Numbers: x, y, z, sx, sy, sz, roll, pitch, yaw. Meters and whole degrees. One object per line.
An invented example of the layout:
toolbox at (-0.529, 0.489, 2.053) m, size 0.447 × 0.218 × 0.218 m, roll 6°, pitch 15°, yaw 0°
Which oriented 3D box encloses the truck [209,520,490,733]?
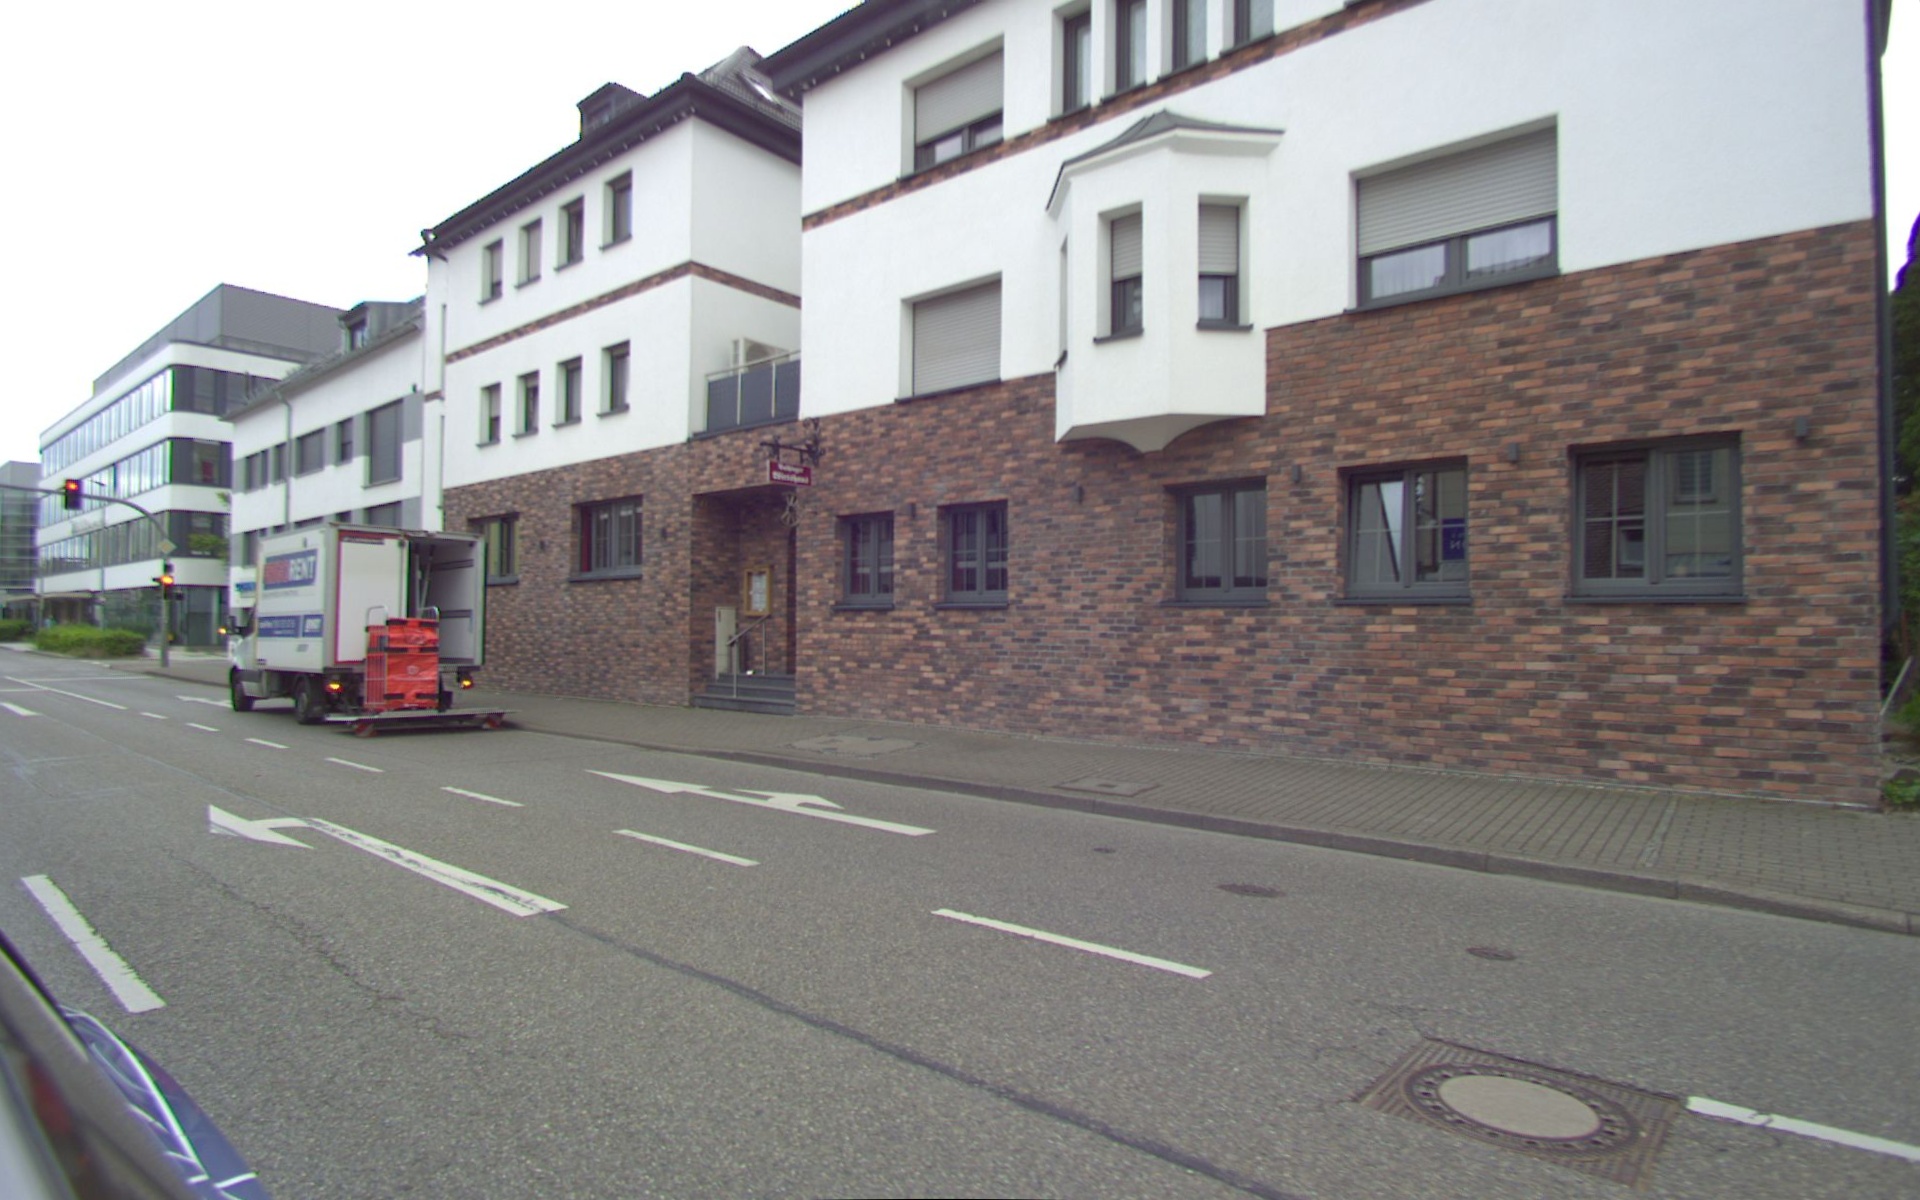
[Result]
truck at (-10.497, 0.404, 17.146) m, size 5.963 × 2.993 × 2.436 m, roll -1°, pitch -1°, yaw 42°
